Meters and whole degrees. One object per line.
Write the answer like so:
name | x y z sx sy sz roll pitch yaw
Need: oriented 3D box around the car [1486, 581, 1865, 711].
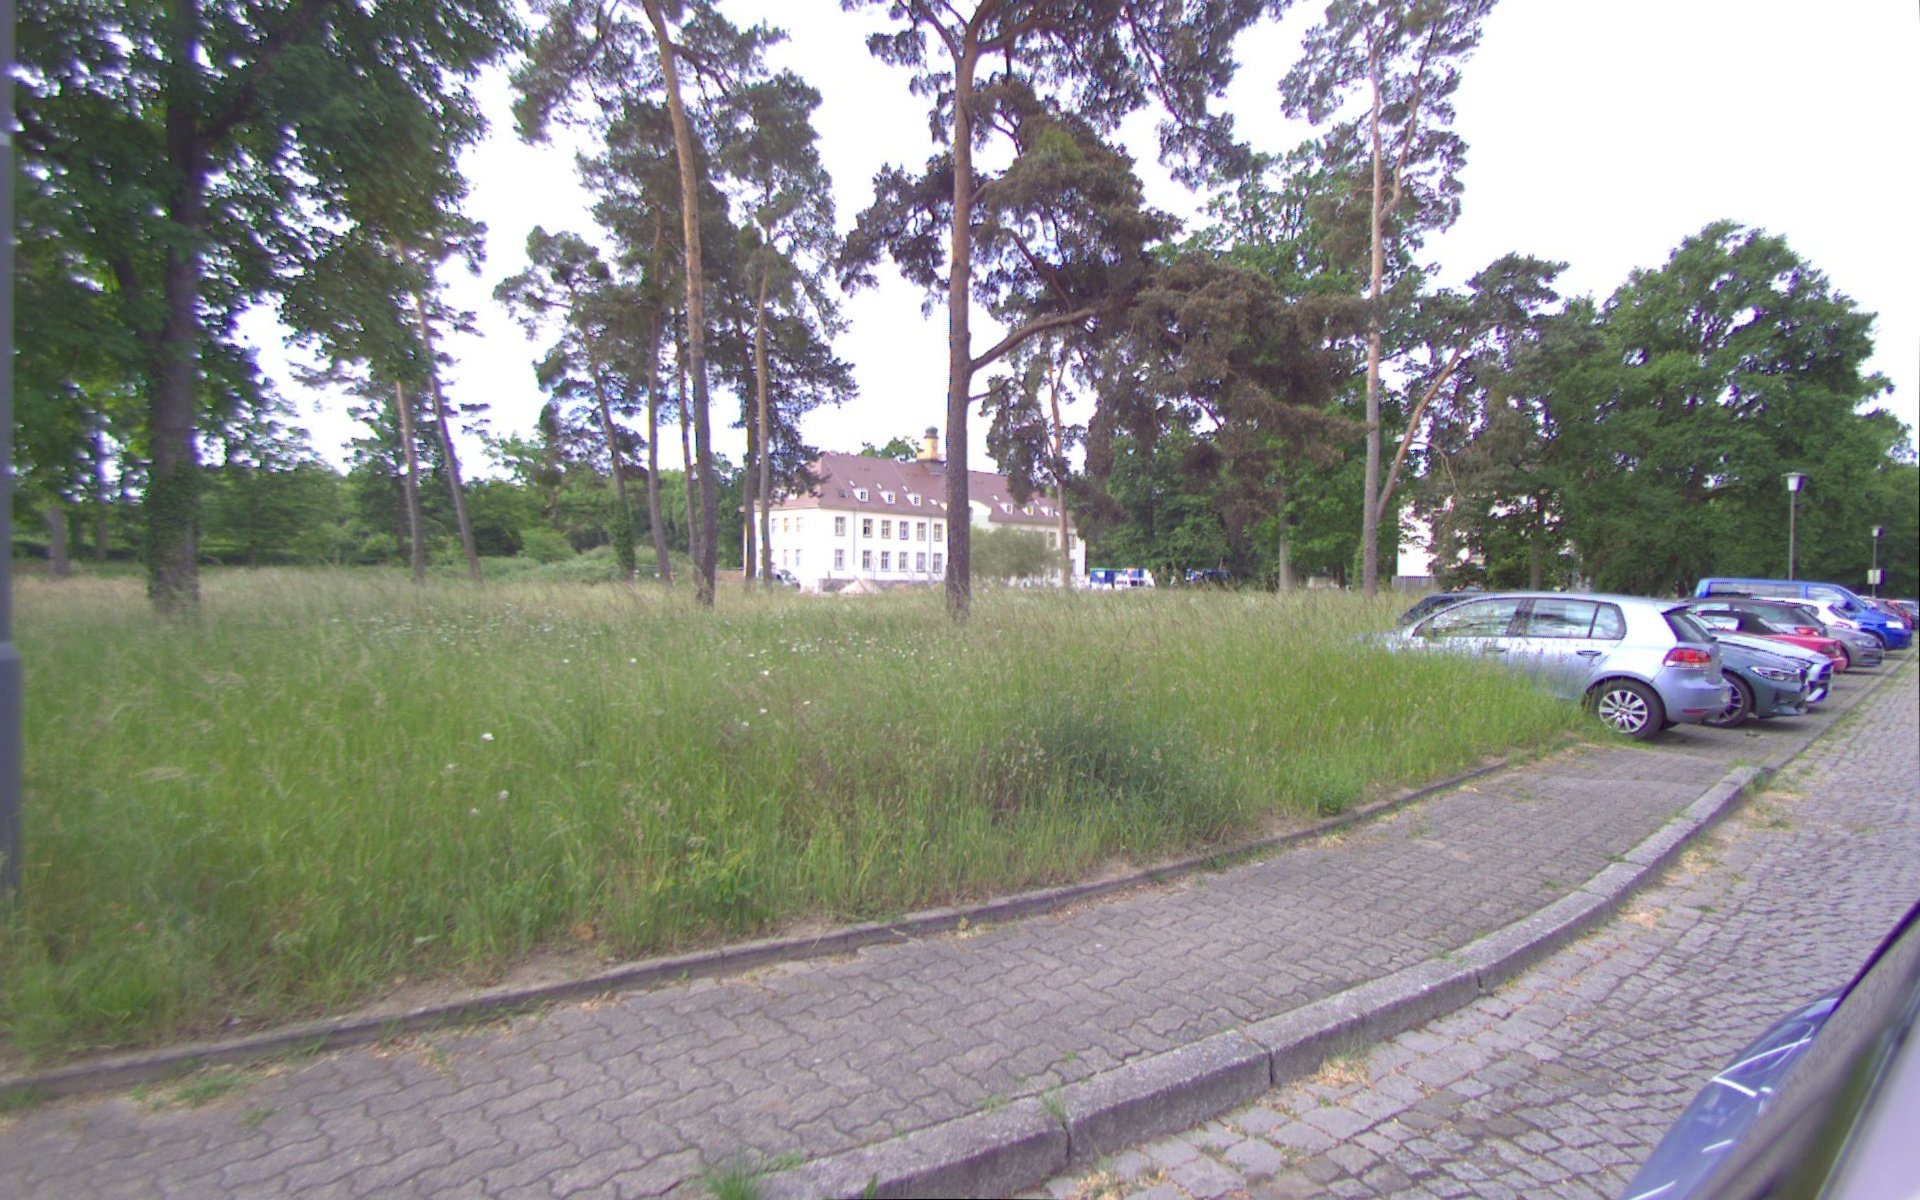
car | 10.312 0.548 14.870 1.687 1.491 4.245 0 2 -41

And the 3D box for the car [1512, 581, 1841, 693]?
car | 11.782 0.504 16.865 1.688 1.500 4.179 0 2 -43

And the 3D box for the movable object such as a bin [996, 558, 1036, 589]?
movable object such as a bin | 7.135 -3.381 129.297 2.016 3.817 5.457 -1 1 -40

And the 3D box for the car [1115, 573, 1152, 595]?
car | 19.395 -1.797 112.993 4.374 2.394 1.859 -1 1 -44

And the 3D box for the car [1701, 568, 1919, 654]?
car | 23.286 0.211 27.625 1.879 2.030 4.599 -1 3 -41

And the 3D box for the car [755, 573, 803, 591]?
car | -20.008 -1.983 111.879 5.774 1.985 2.162 1 1 43

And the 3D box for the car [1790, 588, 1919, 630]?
car | 36.517 0.338 41.141 1.696 1.462 4.081 0 2 -41

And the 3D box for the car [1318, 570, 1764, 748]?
car | 6.342 0.506 11.382 1.670 1.446 4.005 0 4 -45

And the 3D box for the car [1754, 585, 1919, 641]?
car | 29.370 0.376 33.932 1.625 1.612 4.082 0 2 -41

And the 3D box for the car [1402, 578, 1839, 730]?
car | 8.307 0.544 13.063 1.637 1.400 4.433 0 4 -45

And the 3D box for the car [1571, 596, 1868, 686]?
car | 13.498 0.645 18.177 1.523 1.255 4.046 0 2 -43

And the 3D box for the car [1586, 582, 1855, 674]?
car | 15.113 0.473 20.293 1.572 1.535 4.049 0 2 -41

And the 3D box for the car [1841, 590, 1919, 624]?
car | 47.412 0.364 51.139 1.694 1.552 4.097 0 2 -36

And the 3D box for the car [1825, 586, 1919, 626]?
car | 43.975 0.269 48.064 1.694 1.715 4.087 1 2 -36

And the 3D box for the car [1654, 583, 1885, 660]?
car | 19.222 0.450 24.173 1.572 1.535 4.049 0 2 -41

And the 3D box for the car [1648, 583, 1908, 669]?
car | 17.494 0.476 21.814 1.670 1.535 4.096 0 2 -41
